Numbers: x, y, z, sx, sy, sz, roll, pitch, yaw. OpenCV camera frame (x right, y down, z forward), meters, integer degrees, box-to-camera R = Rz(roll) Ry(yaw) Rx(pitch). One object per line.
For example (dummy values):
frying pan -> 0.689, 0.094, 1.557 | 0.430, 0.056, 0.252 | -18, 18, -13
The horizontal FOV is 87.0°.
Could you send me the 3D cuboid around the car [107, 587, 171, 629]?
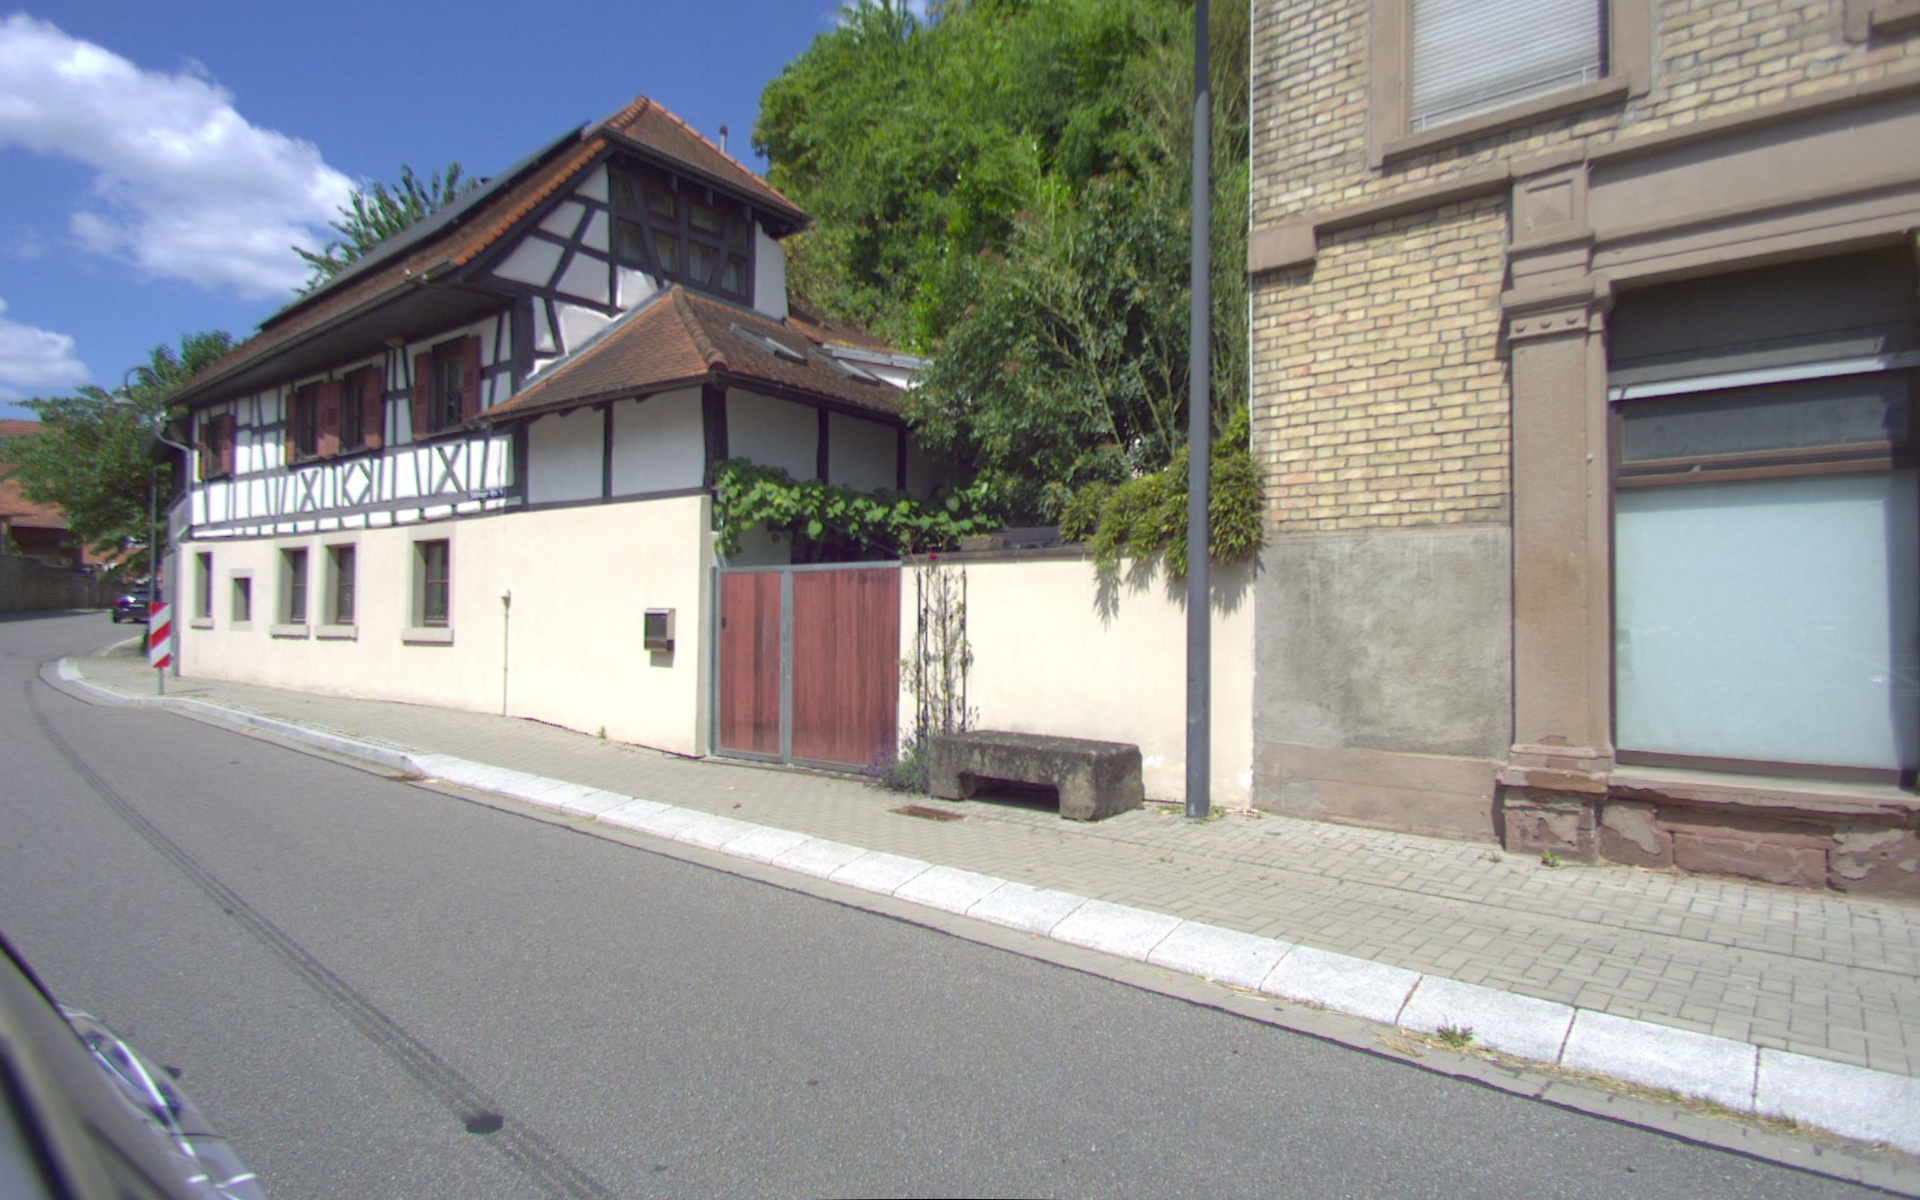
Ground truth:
car -> -34.324, 0.310, 42.408 | 1.676, 1.476, 4.447 | 4, 0, -35
